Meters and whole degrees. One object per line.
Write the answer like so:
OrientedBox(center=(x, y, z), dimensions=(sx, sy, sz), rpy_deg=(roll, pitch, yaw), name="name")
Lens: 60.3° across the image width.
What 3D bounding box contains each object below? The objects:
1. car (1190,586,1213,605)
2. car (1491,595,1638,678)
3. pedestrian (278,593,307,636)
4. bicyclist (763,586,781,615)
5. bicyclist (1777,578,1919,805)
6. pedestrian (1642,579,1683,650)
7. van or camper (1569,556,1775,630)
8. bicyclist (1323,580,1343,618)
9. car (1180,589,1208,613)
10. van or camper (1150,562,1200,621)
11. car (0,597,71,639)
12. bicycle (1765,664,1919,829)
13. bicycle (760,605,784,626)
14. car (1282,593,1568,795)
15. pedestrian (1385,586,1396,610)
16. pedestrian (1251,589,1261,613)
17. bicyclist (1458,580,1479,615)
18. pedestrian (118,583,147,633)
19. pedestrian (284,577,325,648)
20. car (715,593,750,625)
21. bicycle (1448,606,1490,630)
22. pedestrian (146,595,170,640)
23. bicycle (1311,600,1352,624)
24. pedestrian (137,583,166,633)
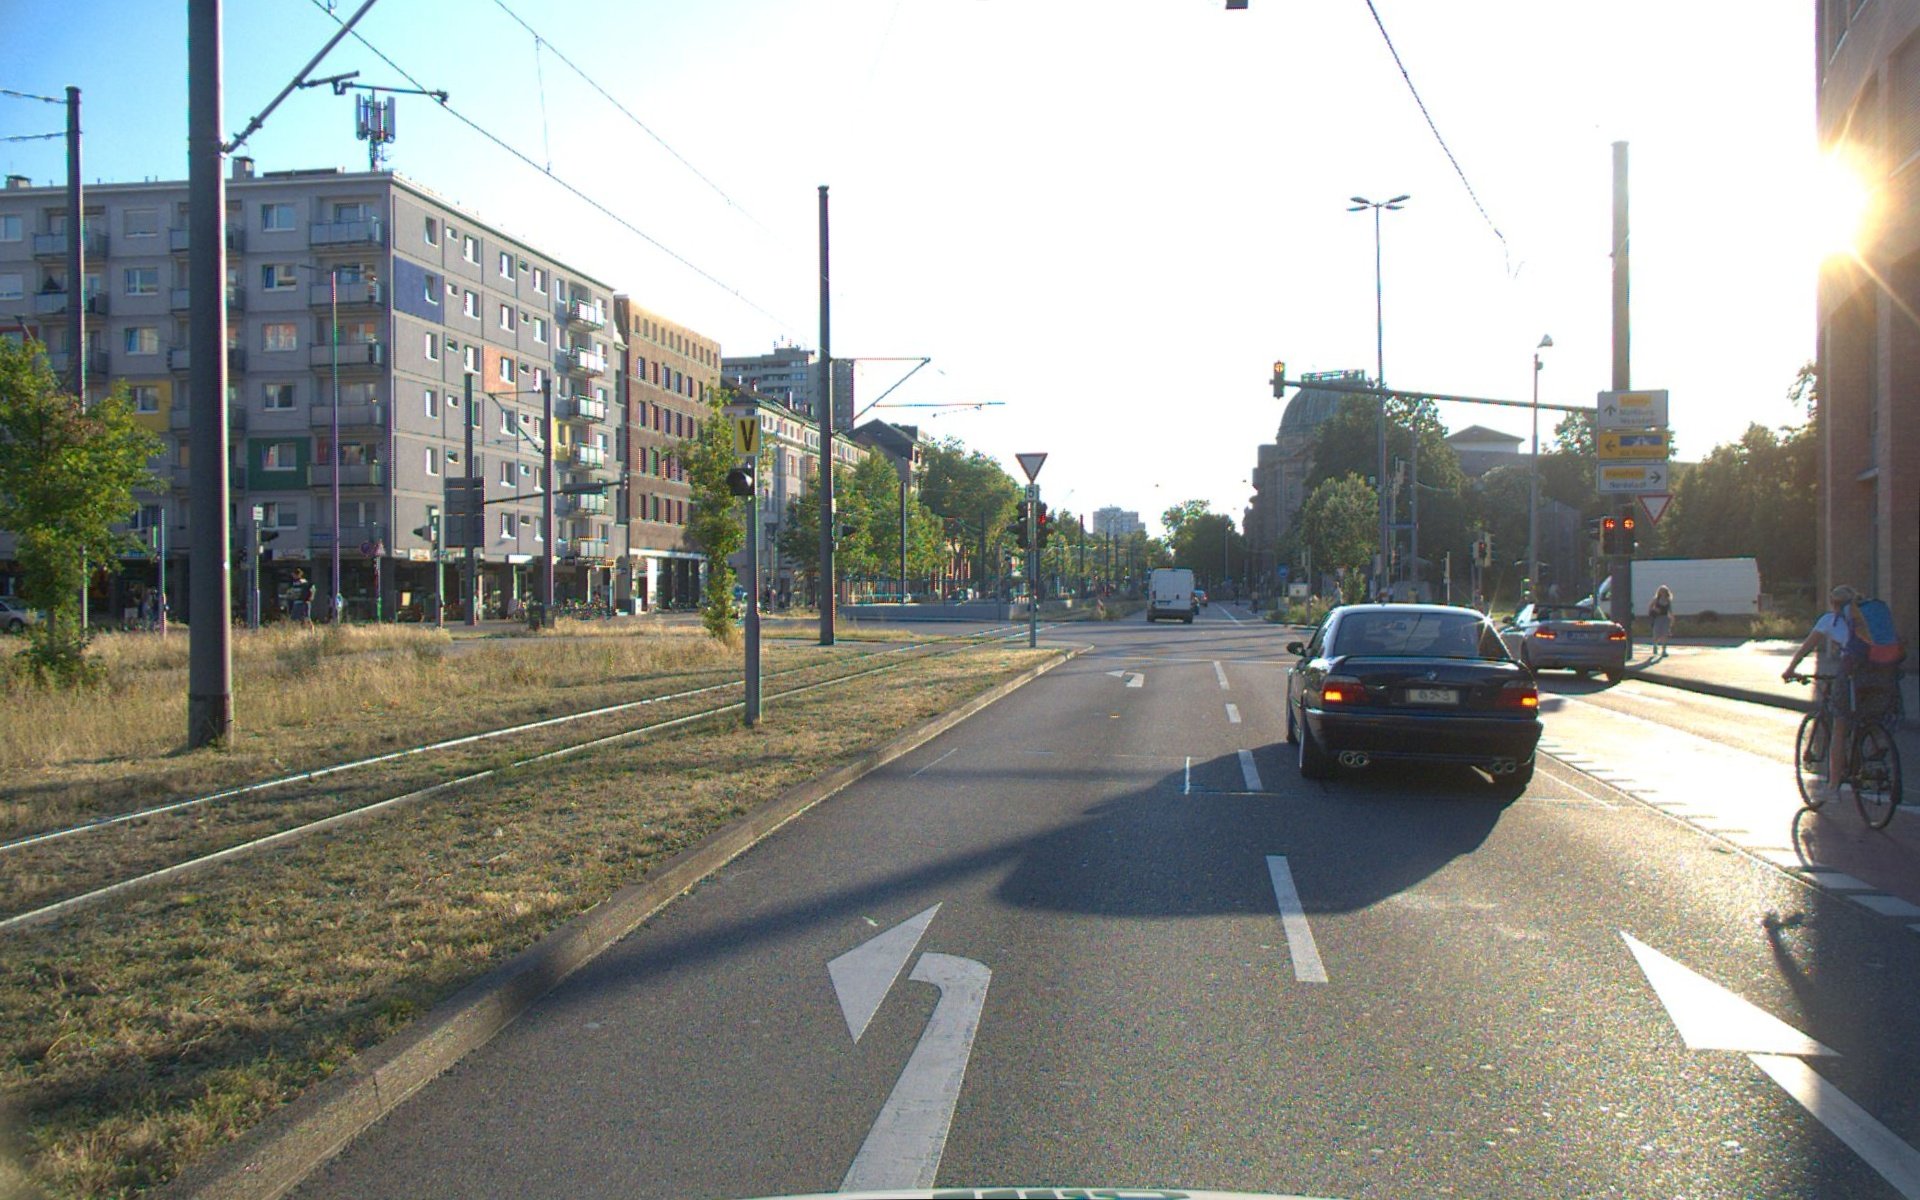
OrientedBox(center=(22.042, -0.434, 151.058), dimensions=(1.756, 1.593, 4.003), rpy_deg=(-1, 1, 5), name="car")
OrientedBox(center=(11.405, 0.637, 31.472), dimensions=(1.745, 1.377, 4.270), rpy_deg=(1, 1, 8), name="car")
OrientedBox(center=(-27.161, 0.579, 67.288), dimensions=(0.724, 1.698, 0.782), rpy_deg=(0, 1, 27), name="pedestrian")
OrientedBox(center=(-9.670, 0.031, 85.267), dimensions=(0.647, 1.467, 0.857), rpy_deg=(2, 1, 13), name="bicyclist")
OrientedBox(center=(6.278, 0.612, 11.595), dimensions=(0.641, 1.509, 1.039), rpy_deg=(1, 0, 6), name="bicyclist")
OrientedBox(center=(16.206, 0.329, 38.184), dimensions=(0.662, 1.597, 0.801), rpy_deg=(-1, 1, 6), name="pedestrian")
OrientedBox(center=(27.286, -0.292, 63.649), dimensions=(6.892, 2.721, 2.601), rpy_deg=(-1, 1, 11), name="van or camper")
OrientedBox(center=(15.988, -0.034, 70.875), dimensions=(0.780, 1.598, 0.664), rpy_deg=(-1, 1, 11), name="bicyclist")
OrientedBox(center=(15.124, 0.056, 106.720), dimensions=(1.700, 1.410, 4.004), rpy_deg=(-1, 1, 9), name="car")
OrientedBox(center=(10.334, -0.449, 79.219), dimensions=(2.214, 2.670, 4.507), rpy_deg=(-1, 1, 9), name="van or camper")
OrientedBox(center=(-37.948, 0.727, 66.135), dimensions=(3.784, 1.612, 1.805), rpy_deg=(-1, 1, 3), name="car")
OrientedBox(center=(6.280, 0.991, 11.659), dimensions=(0.504, 0.971, 1.777), rpy_deg=(1, 1, 6), name="bicycle")
OrientedBox(center=(-9.678, 0.810, 85.298), dimensions=(0.687, 0.986, 1.736), rpy_deg=(2, 2, 12), name="bicycle")
OrientedBox(center=(3.856, 0.676, 14.457), dimensions=(1.791, 1.377, 4.645), rpy_deg=(1, 1, 8), name="car")
OrientedBox(center=(29.631, -0.165, 113.796), dimensions=(0.667, 1.639, 0.613), rpy_deg=(-1, 1, 9), name="pedestrian")
OrientedBox(center=(19.102, 0.049, 106.814), dimensions=(0.603, 1.501, 0.801), rpy_deg=(-1, 1, 13), name="pedestrian")
OrientedBox(center=(21.947, -0.099, 71.360), dimensions=(0.836, 1.467, 0.663), rpy_deg=(0, 1, 21), name="bicyclist")
OrientedBox(center=(-32.004, 0.304, 63.977), dimensions=(0.690, 1.884, 0.737), rpy_deg=(-1, 1, 9), name="pedestrian")
OrientedBox(center=(-16.784, 0.308, 42.347), dimensions=(0.706, 1.793, 0.649), rpy_deg=(0, 1, 30), name="pedestrian")
OrientedBox(center=(-11.759, 0.462, 85.264), dimensions=(1.681, 1.459, 3.992), rpy_deg=(1, 2, -10), name="car")
OrientedBox(center=(21.968, 0.759, 71.368), dimensions=(1.683, 0.987, 0.609), rpy_deg=(1, 1, 21), name="bicycle")
OrientedBox(center=(-30.106, 0.643, 62.098), dimensions=(0.503, 1.657, 0.616), rpy_deg=(-1, 1, 9), name="pedestrian")
OrientedBox(center=(15.924, 0.518, 70.902), dimensions=(1.691, 0.987, 0.610), rpy_deg=(0, 1, 10), name="bicycle")
OrientedBox(center=(-31.125, 0.313, 63.684), dimensions=(0.589, 1.879, 0.823), rpy_deg=(-1, 1, 9), name="pedestrian")
